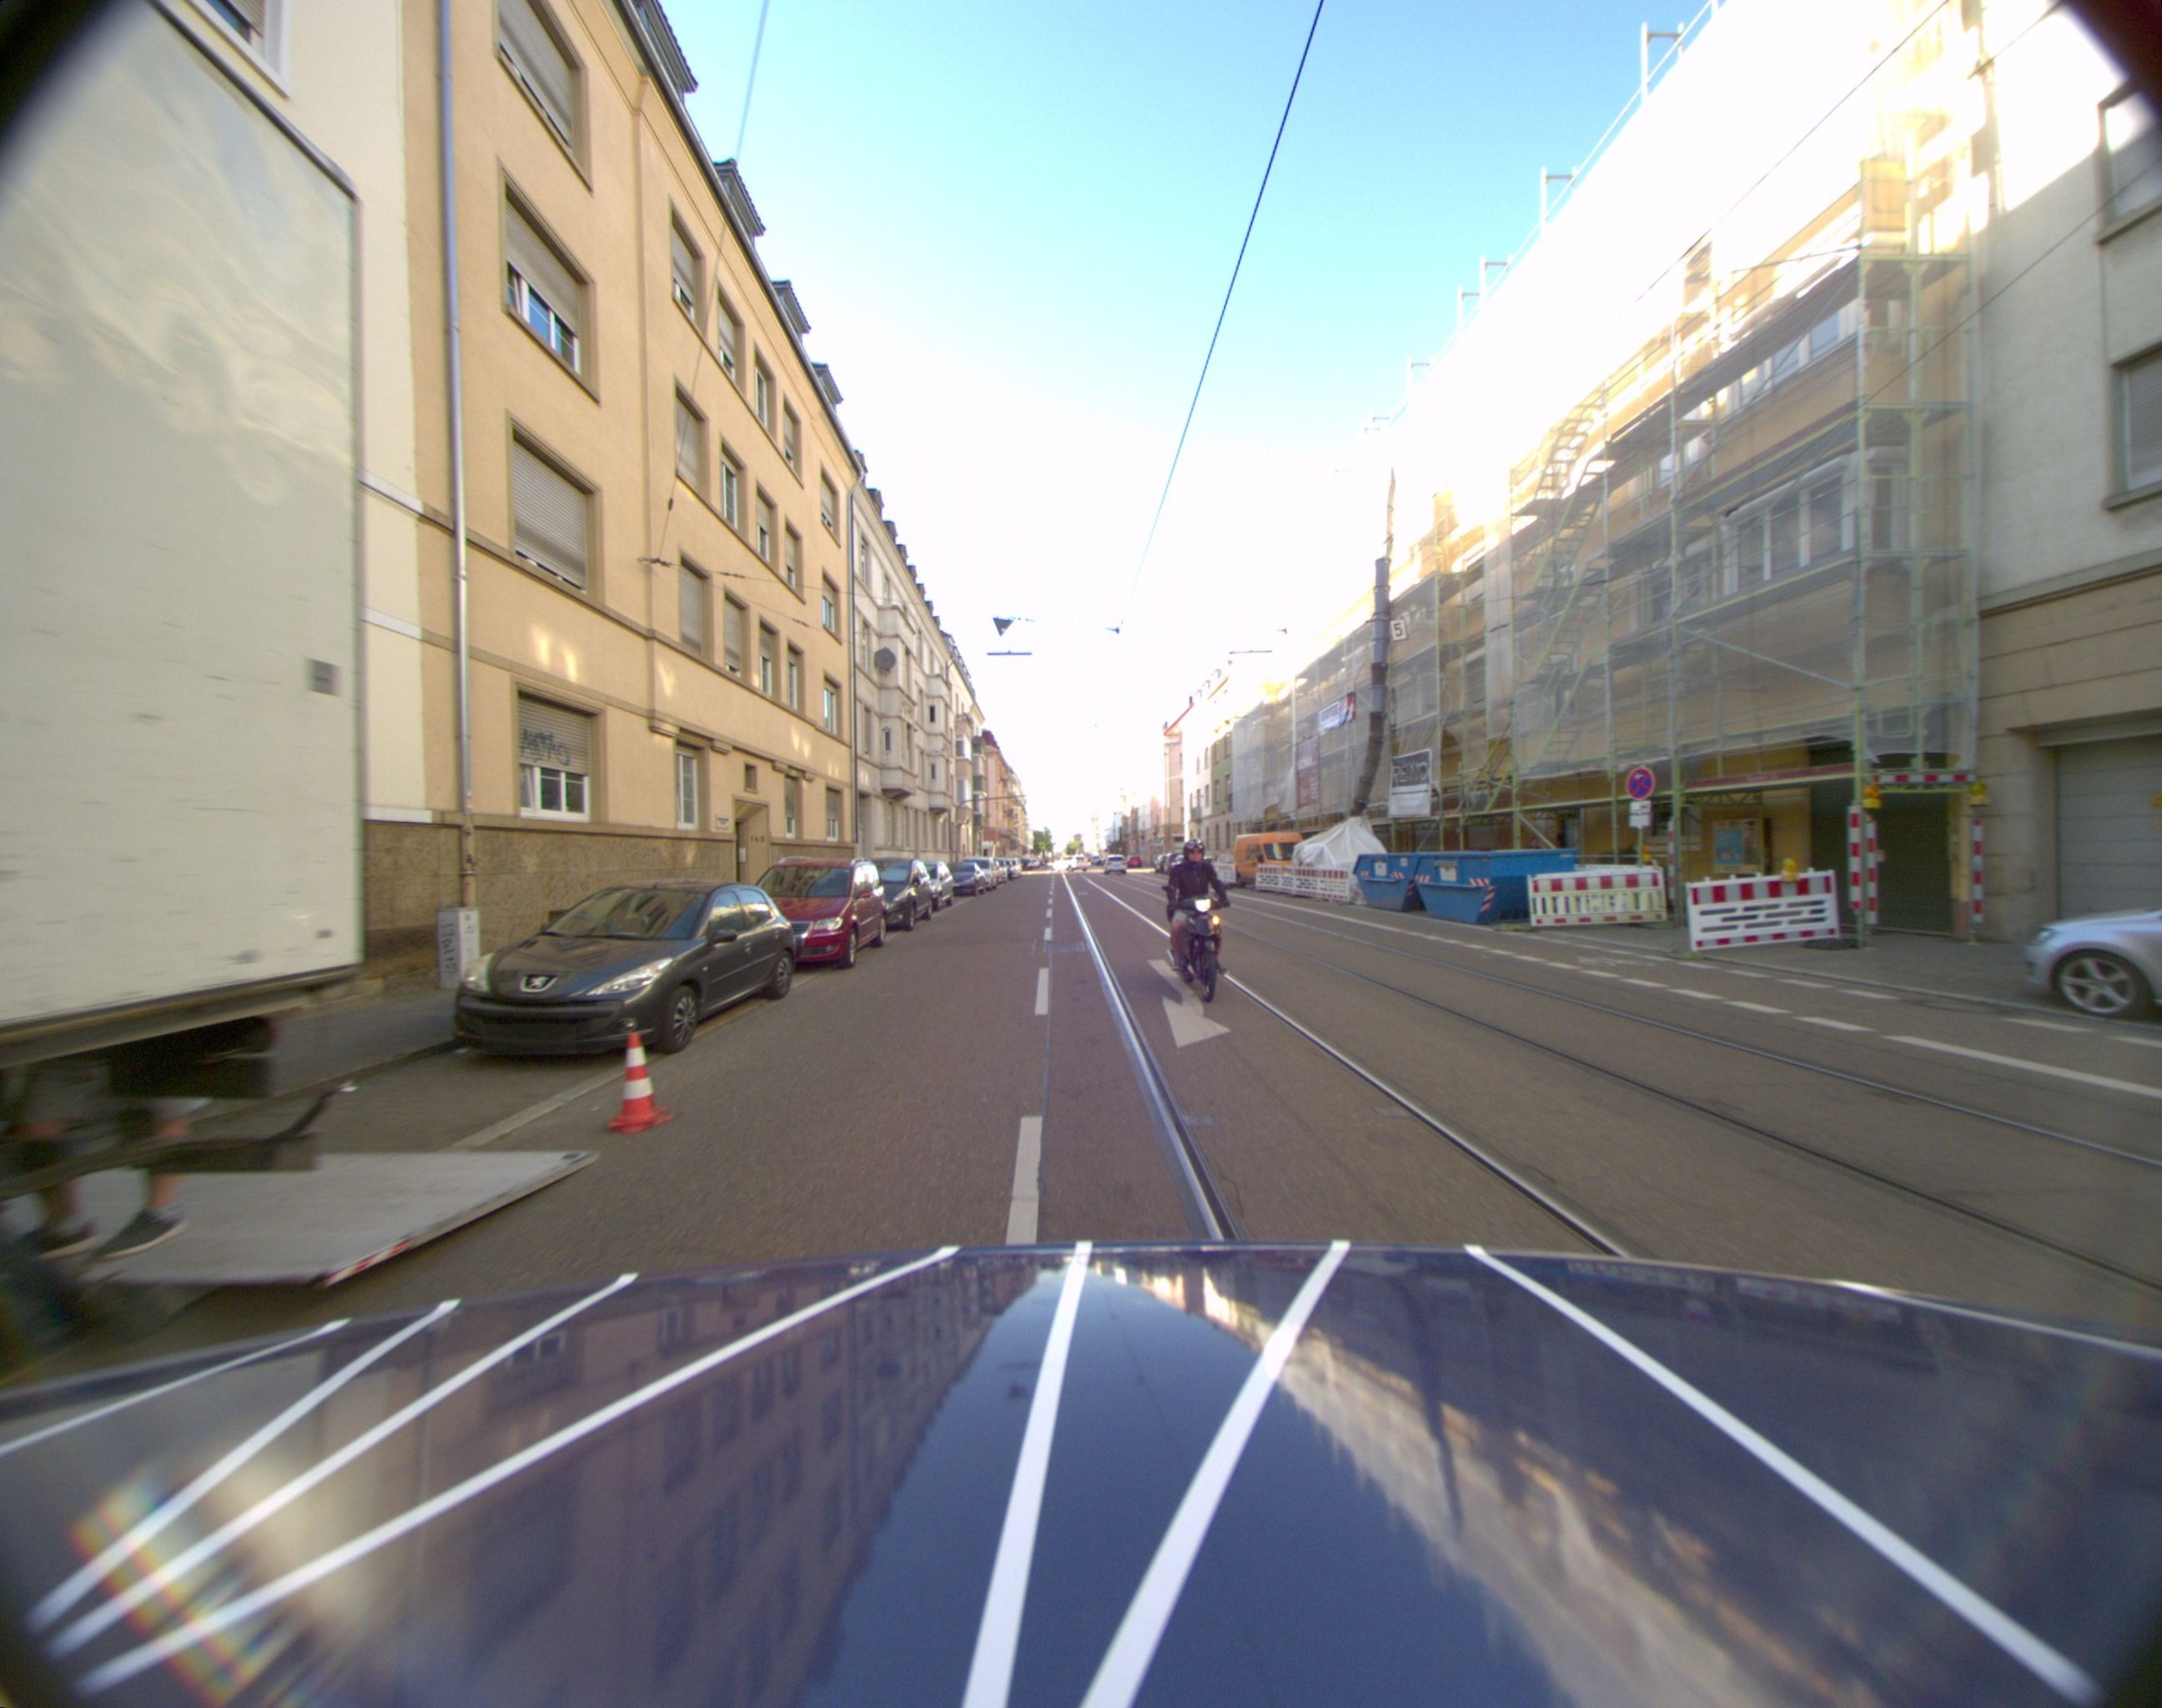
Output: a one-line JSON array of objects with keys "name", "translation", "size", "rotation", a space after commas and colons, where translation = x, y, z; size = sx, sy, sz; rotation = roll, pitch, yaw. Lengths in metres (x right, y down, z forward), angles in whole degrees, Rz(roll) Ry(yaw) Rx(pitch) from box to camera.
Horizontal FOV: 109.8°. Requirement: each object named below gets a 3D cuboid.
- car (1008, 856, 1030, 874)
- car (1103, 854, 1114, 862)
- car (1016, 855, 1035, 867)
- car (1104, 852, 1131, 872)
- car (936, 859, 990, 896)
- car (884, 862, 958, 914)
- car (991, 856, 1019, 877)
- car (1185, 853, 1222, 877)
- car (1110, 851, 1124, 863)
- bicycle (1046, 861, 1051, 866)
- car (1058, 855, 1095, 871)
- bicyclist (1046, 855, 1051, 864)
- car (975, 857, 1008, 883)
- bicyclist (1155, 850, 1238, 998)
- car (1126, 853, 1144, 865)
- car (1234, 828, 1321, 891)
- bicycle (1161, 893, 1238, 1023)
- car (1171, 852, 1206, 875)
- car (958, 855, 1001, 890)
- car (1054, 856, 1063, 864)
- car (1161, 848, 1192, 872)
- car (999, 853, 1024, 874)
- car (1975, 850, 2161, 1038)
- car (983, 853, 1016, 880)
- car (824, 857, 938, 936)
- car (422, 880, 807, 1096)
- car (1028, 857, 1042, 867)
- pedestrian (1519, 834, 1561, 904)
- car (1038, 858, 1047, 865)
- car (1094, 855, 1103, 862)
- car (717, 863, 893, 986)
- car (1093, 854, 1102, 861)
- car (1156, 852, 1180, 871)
[{"name": "car", "translation": [-5.566, 0.959, 68.518], "size": [1.703, 1.581, 3.354], "rotation": [2, 0, 0]}, {"name": "car", "translation": [5.292, 0.817, 147.162], "size": [1.799, 1.494, 3.768], "rotation": [-3, 0, -3]}, {"name": "car", "translation": [-6.749, 0.809, 92.628], "size": [1.999, 1.412, 3.726], "rotation": [0, 0, -1]}, {"name": "car", "translation": [3.172, 0.672, 66.701], "size": [1.826, 1.559, 4.199], "rotation": [-3, 0, -3]}, {"name": "car", "translation": [-5.035, 0.978, 32.945], "size": [1.704, 1.444, 4.206], "rotation": [0, 0, 0]}, {"name": "car", "translation": [-4.916, 0.993, 23.695], "size": [1.613, 1.454, 3.479], "rotation": [0, 0, -1]}, {"name": "car", "translation": [-5.641, 0.924, 56.908], "size": [1.703, 1.496, 3.862], "rotation": [-1, 0, -1]}, {"name": "car", "translation": [8.088, 0.708, 50.593], "size": [1.751, 1.502, 3.999], "rotation": [0, 0, -1]}, {"name": "car", "translation": [6.108, 0.437, 128.663], "size": [1.999, 2.002, 3.999], "rotation": [0, 0, -2]}, {"name": "bicycle", "translation": [-5.172, 1.492, 121.219], "size": [0.744, 0.850, 1.885], "rotation": [-1, 0, -2]}, {"name": "car", "translation": [-0.461, 0.869, 78.904], "size": [1.776, 1.598, 4.282], "rotation": [-1, 0, -34]}, {"name": "bicyclist", "translation": [-5.168, 0.862, 121.327], "size": [0.744, 1.481, 0.816], "rotation": [-1, 1, -2]}, {"name": "car", "translation": [-5.467, 0.962, 46.862], "size": [1.570, 1.475, 3.365], "rotation": [2, 0, 0]}, {"name": "bicyclist", "translation": [1.272, 0.738, 8.433], "size": [0.843, 1.545, 0.850], "rotation": [-1, 1, 8]}, {"name": "car", "translation": [6.957, 0.623, 98.169], "size": [1.799, 1.494, 3.768], "rotation": [-3, 0, -3]}, {"name": "car", "translation": [8.304, 0.227, 32.786], "size": [2.125, 2.455, 5.999], "rotation": [0, 0, -1]}, {"name": "bicycle", "translation": [1.317, 1.084, 8.517], "size": [0.740, 1.170, 1.975], "rotation": [-1, 0, 8]}, {"name": "car", "translation": [7.962, 0.677, 56.645], "size": [1.702, 1.569, 4.222], "rotation": [-3, 0, -3]}, {"name": "car", "translation": [-5.132, 0.903, 38.883], "size": [1.713, 1.683, 4.589], "rotation": [0, 0, -2]}, {"name": "car", "translation": [-4.787, 1.232, 162.821], "size": [1.999, 1.586, 3.999], "rotation": [-1, 0, -2]}, {"name": "car", "translation": [7.813, 0.511, 62.602], "size": [1.799, 1.836, 3.768], "rotation": [-3, 0, -3]}, {"name": "car", "translation": [-5.644, 0.735, 62.026], "size": [1.703, 1.581, 3.960], "rotation": [-1, 0, -2]}, {"name": "car", "translation": [9.648, 0.752, 5.439], "size": [1.704, 1.407, 3.999], "rotation": [-4, 1, -1]}, {"name": "car", "translation": [-5.478, 0.802, 51.242], "size": [1.703, 1.688, 4.188], "rotation": [0, 0, 1]}, {"name": "car", "translation": [-4.666, 0.912, 18.343], "size": [1.795, 1.642, 4.365], "rotation": [0, 0, -3]}, {"name": "car", "translation": [-4.154, 1.059, 7.584], "size": [1.587, 1.455, 3.879], "rotation": [0, 0, -3]}, {"name": "car", "translation": [-7.380, 1.253, 122.619], "size": [1.999, 1.630, 3.999], "rotation": [0, 0, -1]}, {"name": "pedestrian", "translation": [11.240, 0.359, 18.628], "size": [0.582, 1.684, 0.716], "rotation": [-1, 1, -1]}, {"name": "car", "translation": [-9.077, 1.782, 180.475], "size": [1.999, 1.674, 3.999], "rotation": [-1, 0, -1]}, {"name": "car", "translation": [3.886, 0.955, 171.252], "size": [1.799, 1.494, 3.768], "rotation": [-3, 0, -3]}, {"name": "car", "translation": [-4.270, 0.980, 12.449], "size": [1.596, 1.599, 4.245], "rotation": [0, 0, -4]}, {"name": "car", "translation": [3.810, 0.899, 176.945], "size": [1.799, 1.494, 3.768], "rotation": [-3, 0, -3]}, {"name": "car", "translation": [7.698, 0.625, 67.603], "size": [1.798, 1.601, 3.770], "rotation": [-1, 0, 1]}]
